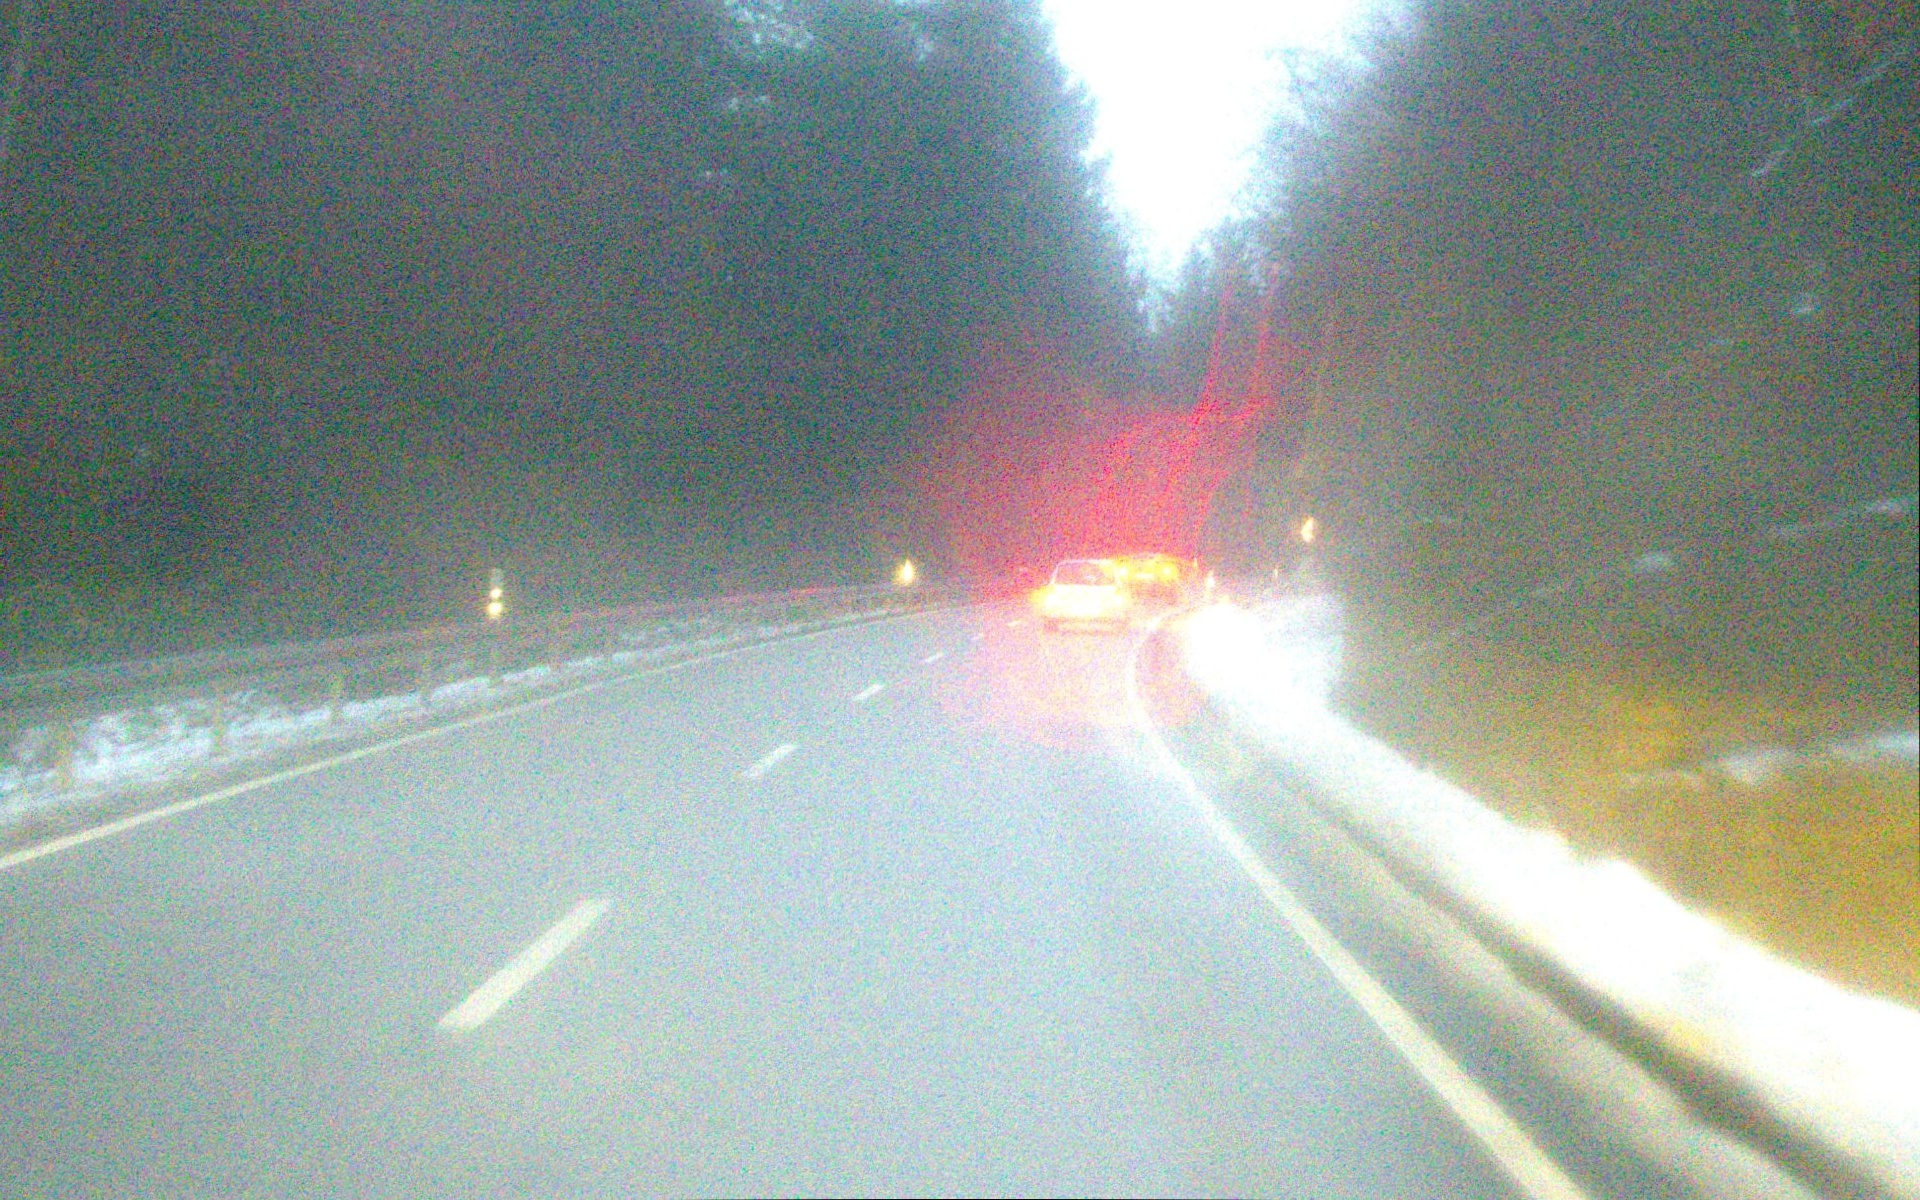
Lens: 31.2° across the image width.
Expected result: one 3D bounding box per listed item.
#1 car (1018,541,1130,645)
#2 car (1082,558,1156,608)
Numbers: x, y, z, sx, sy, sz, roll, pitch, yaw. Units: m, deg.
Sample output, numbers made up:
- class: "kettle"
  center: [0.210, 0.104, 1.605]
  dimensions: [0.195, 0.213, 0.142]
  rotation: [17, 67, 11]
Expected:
- class: "car"
  center: [2.179, -0.166, 66.939]
  dimensions: [1.993, 1.866, 4.000]
  rotation: [-3, 1, 1]
- class: "car"
  center: [4.696, -0.514, 101.792]
  dimensions: [1.993, 1.305, 4.000]
  rotation: [-3, 1, 1]
